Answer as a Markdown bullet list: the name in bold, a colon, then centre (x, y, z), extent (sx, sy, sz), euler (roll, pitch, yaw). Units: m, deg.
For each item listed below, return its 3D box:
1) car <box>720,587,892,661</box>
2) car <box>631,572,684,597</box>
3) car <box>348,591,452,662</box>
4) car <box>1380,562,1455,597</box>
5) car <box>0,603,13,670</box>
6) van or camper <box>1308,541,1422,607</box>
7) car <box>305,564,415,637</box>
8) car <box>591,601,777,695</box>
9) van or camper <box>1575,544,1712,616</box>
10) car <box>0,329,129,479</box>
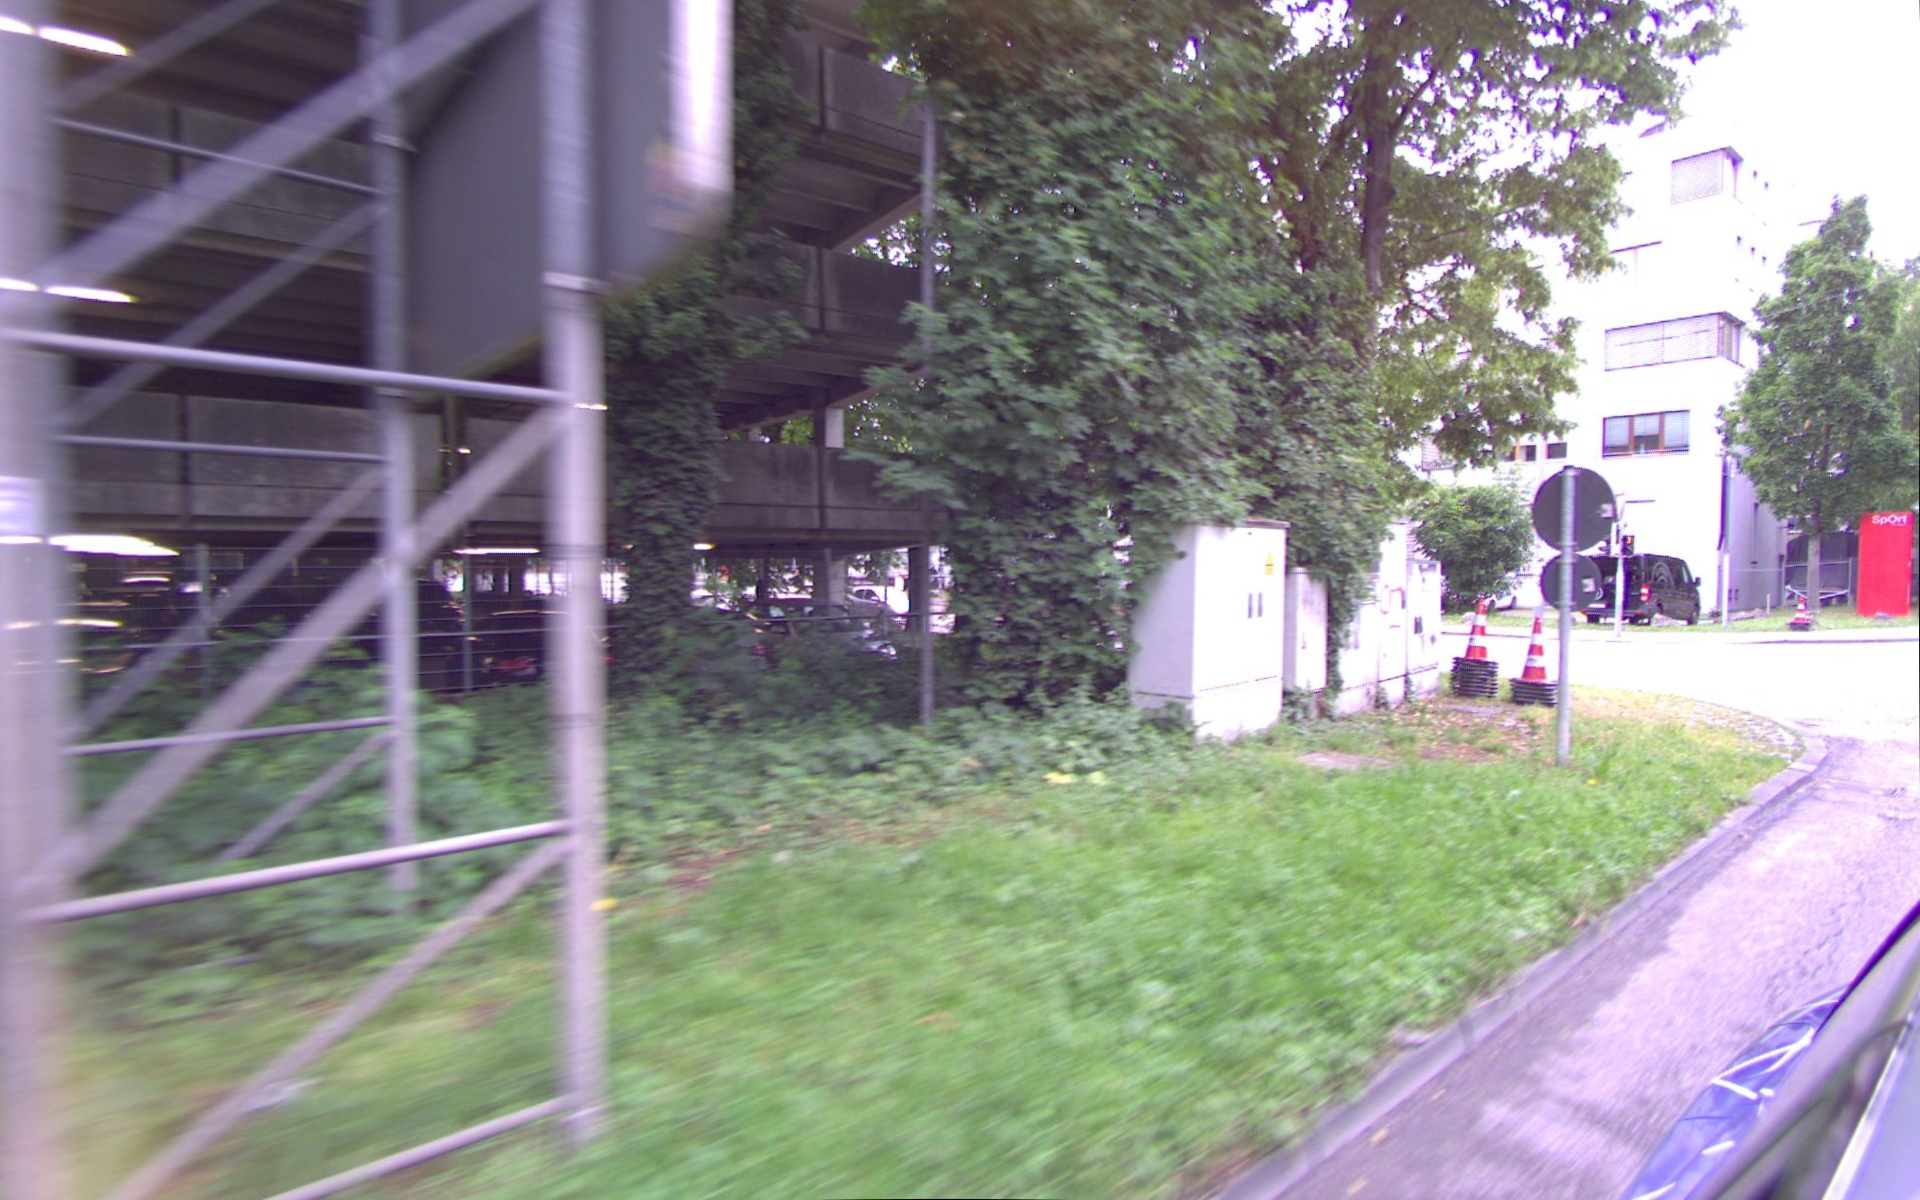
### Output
- **car**: centre (-2.700, 0.349, 17.295), extent (1.511, 1.100, 3.252), euler (-1, 2, -38)
- **car**: centre (-21.957, -1.153, 73.362), extent (4.358, 1.413, 1.678), euler (4, 10, 44)
- **car**: centre (-12.856, 0.538, 23.134), extent (1.495, 1.381, 3.774), euler (-2, 3, -38)
- **car**: centre (22.276, -1.011, 49.230), extent (4.012, 1.548, 1.841), euler (-4, 3, -41)
- **car**: centre (-18.131, 0.696, 18.068), extent (1.496, 1.190, 3.340), euler (-3, 2, -39)
- **van or camper**: centre (16.278, -1.025, 40.525), extent (5.095, 2.453, 2.154), euler (0, 1, -41)
- **car**: centre (-16.213, -0.050, 27.255), extent (1.965, 1.749, 3.996), euler (-3, 3, -39)
- **car**: centre (-4.389, 0.654, 15.759), extent (1.592, 1.176, 3.640), euler (-1, 2, -36)
- **van or camper**: centre (22.392, -0.592, 33.055), extent (5.541, 2.136, 2.168), euler (1, 0, -39)
- **car**: centre (-10.284, -2.114, 11.373), extent (1.332, 1.262, 2.895), euler (-3, 3, -38)
